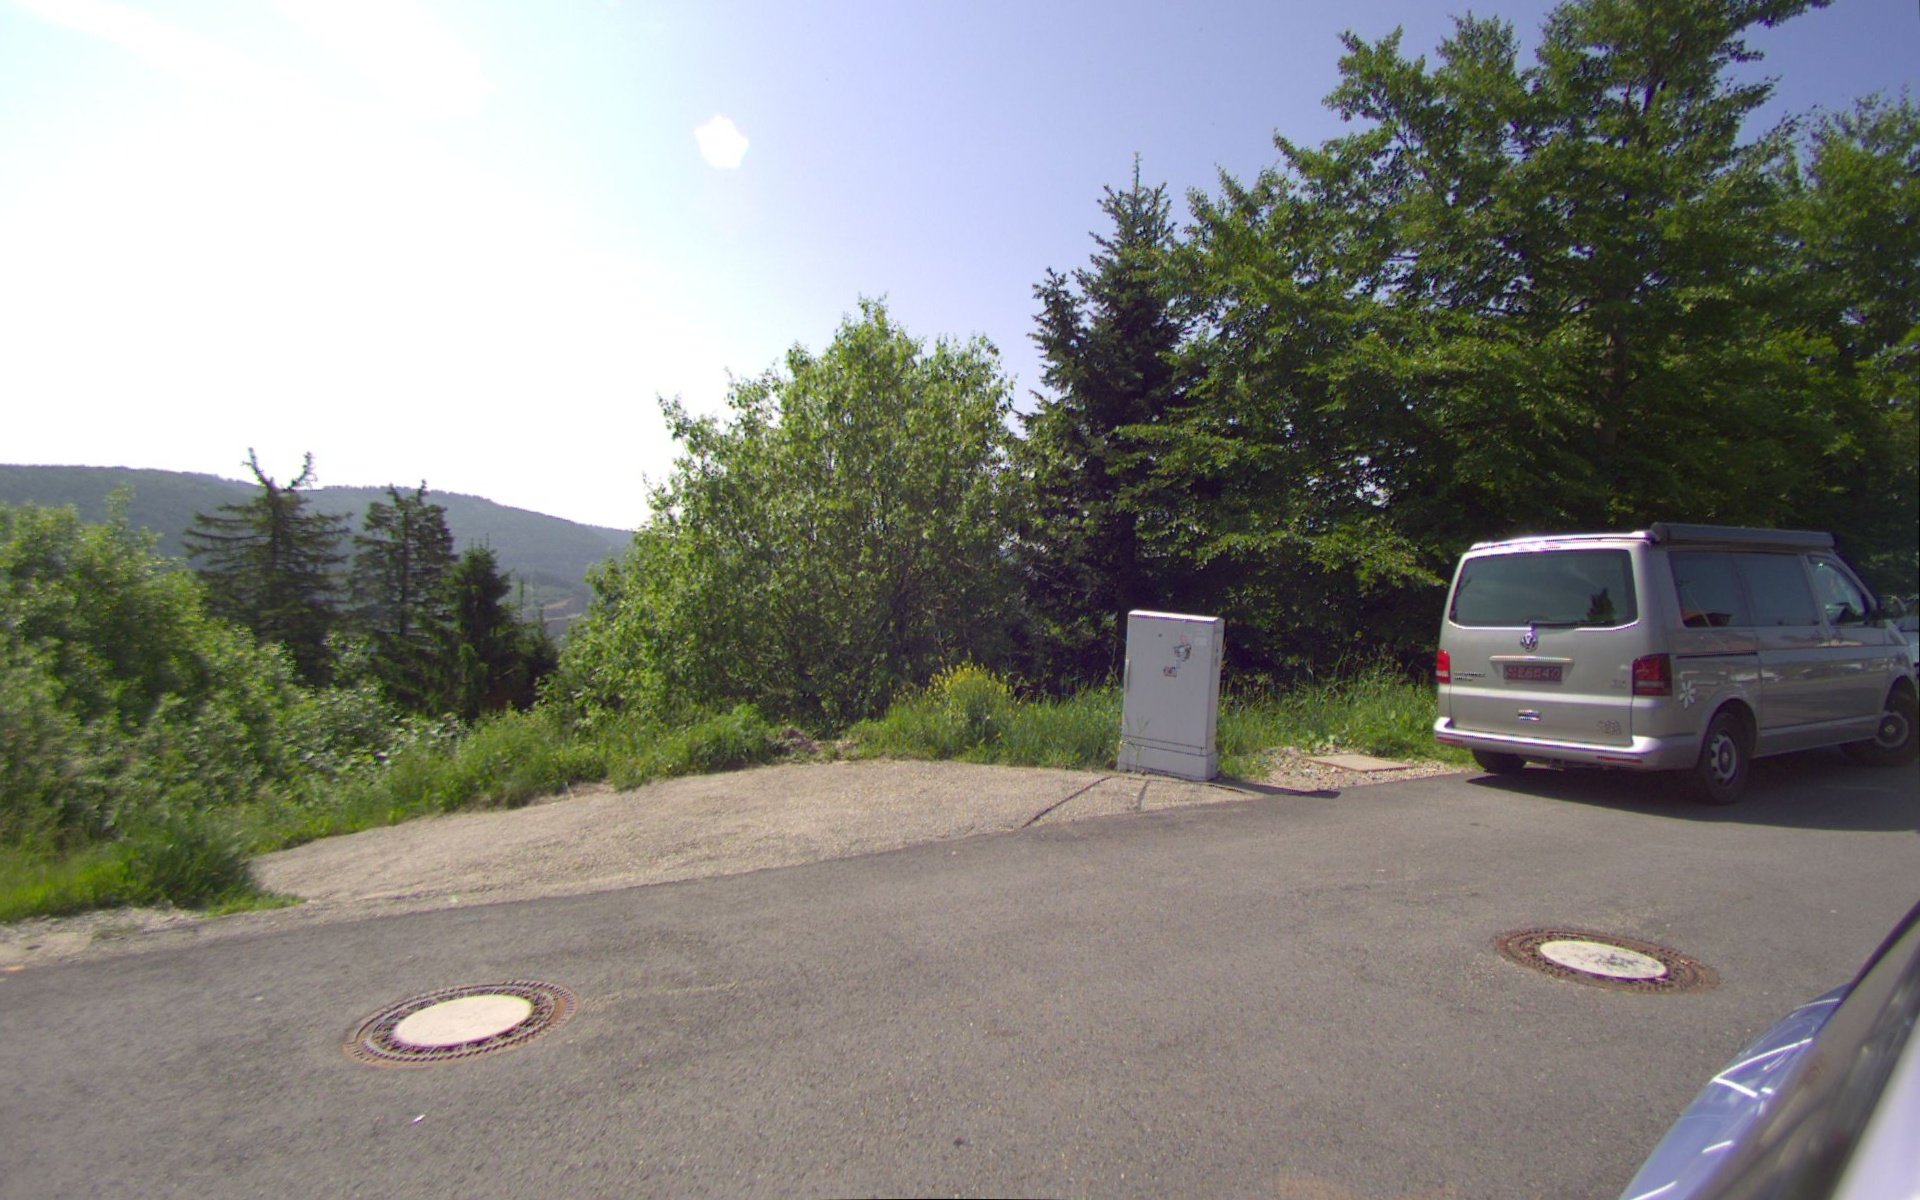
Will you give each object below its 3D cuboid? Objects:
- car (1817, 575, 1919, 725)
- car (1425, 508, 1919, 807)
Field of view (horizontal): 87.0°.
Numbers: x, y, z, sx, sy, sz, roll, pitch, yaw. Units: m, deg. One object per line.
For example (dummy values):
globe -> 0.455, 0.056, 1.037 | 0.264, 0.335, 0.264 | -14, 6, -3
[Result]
car -> 11.719, 0.509, 11.518 | 3.921, 1.567, 1.877 | 0, 0, -32
car -> 6.253, 0.382, 8.544 | 4.515, 1.960, 1.865 | 0, -1, -28
